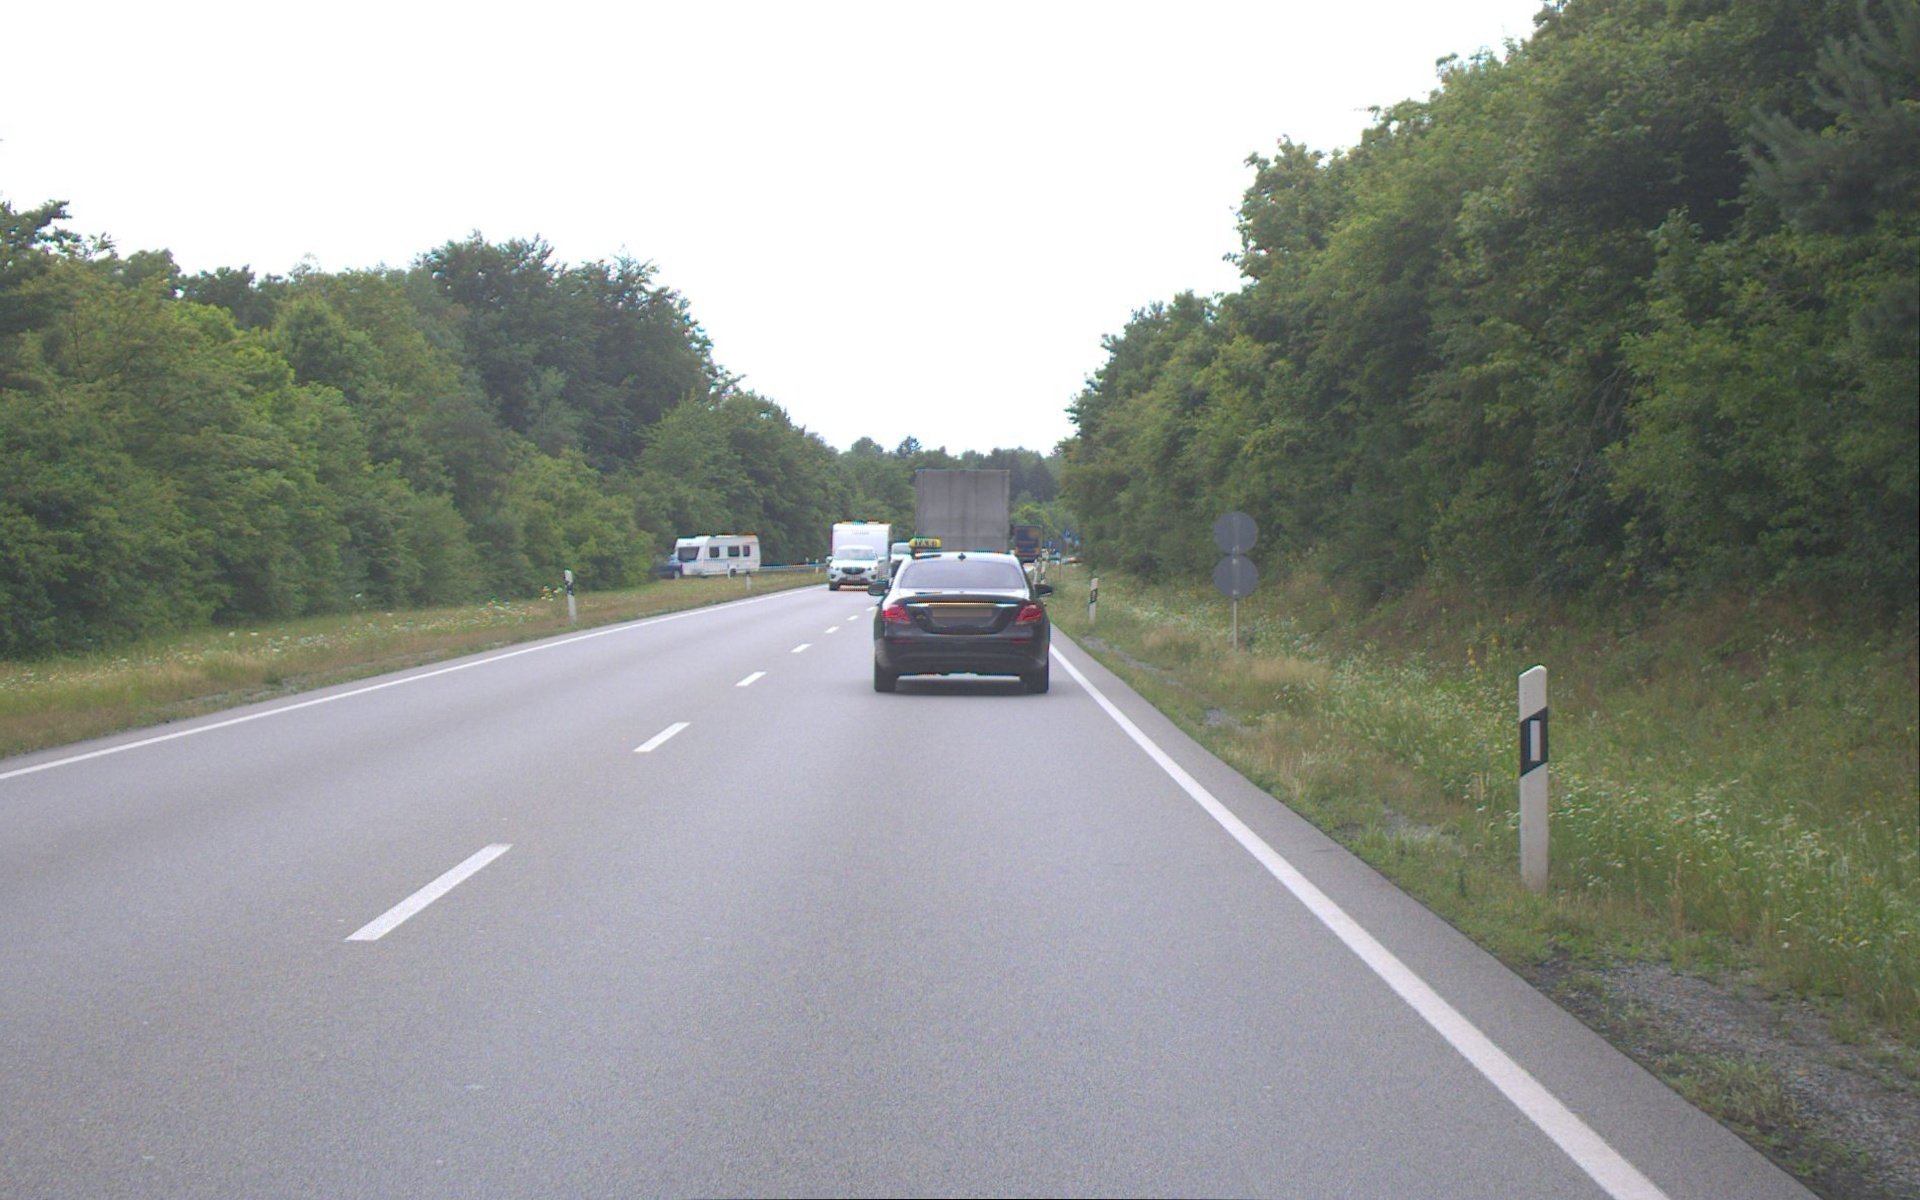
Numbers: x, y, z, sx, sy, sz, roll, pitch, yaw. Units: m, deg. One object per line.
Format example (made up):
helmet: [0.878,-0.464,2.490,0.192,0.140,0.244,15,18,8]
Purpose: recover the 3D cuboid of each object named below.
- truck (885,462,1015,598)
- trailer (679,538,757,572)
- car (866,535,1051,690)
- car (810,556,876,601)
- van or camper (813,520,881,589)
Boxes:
truck: [-0.178,-1.951,98.296,3.281,3.599,11.399,1,1,2]
trailer: [-14.718,-2.720,208.963,1.997,2.007,5.113,1,1,34]
car: [-0.067,0.100,36.764,1.791,1.546,4.000,1,1,-2]
car: [-4.323,-0.802,127.772,2.279,1.598,4.692,1,1,0]
van or camper: [-4.339,-1.769,133.221,2.380,2.566,6.280,1,1,0]
